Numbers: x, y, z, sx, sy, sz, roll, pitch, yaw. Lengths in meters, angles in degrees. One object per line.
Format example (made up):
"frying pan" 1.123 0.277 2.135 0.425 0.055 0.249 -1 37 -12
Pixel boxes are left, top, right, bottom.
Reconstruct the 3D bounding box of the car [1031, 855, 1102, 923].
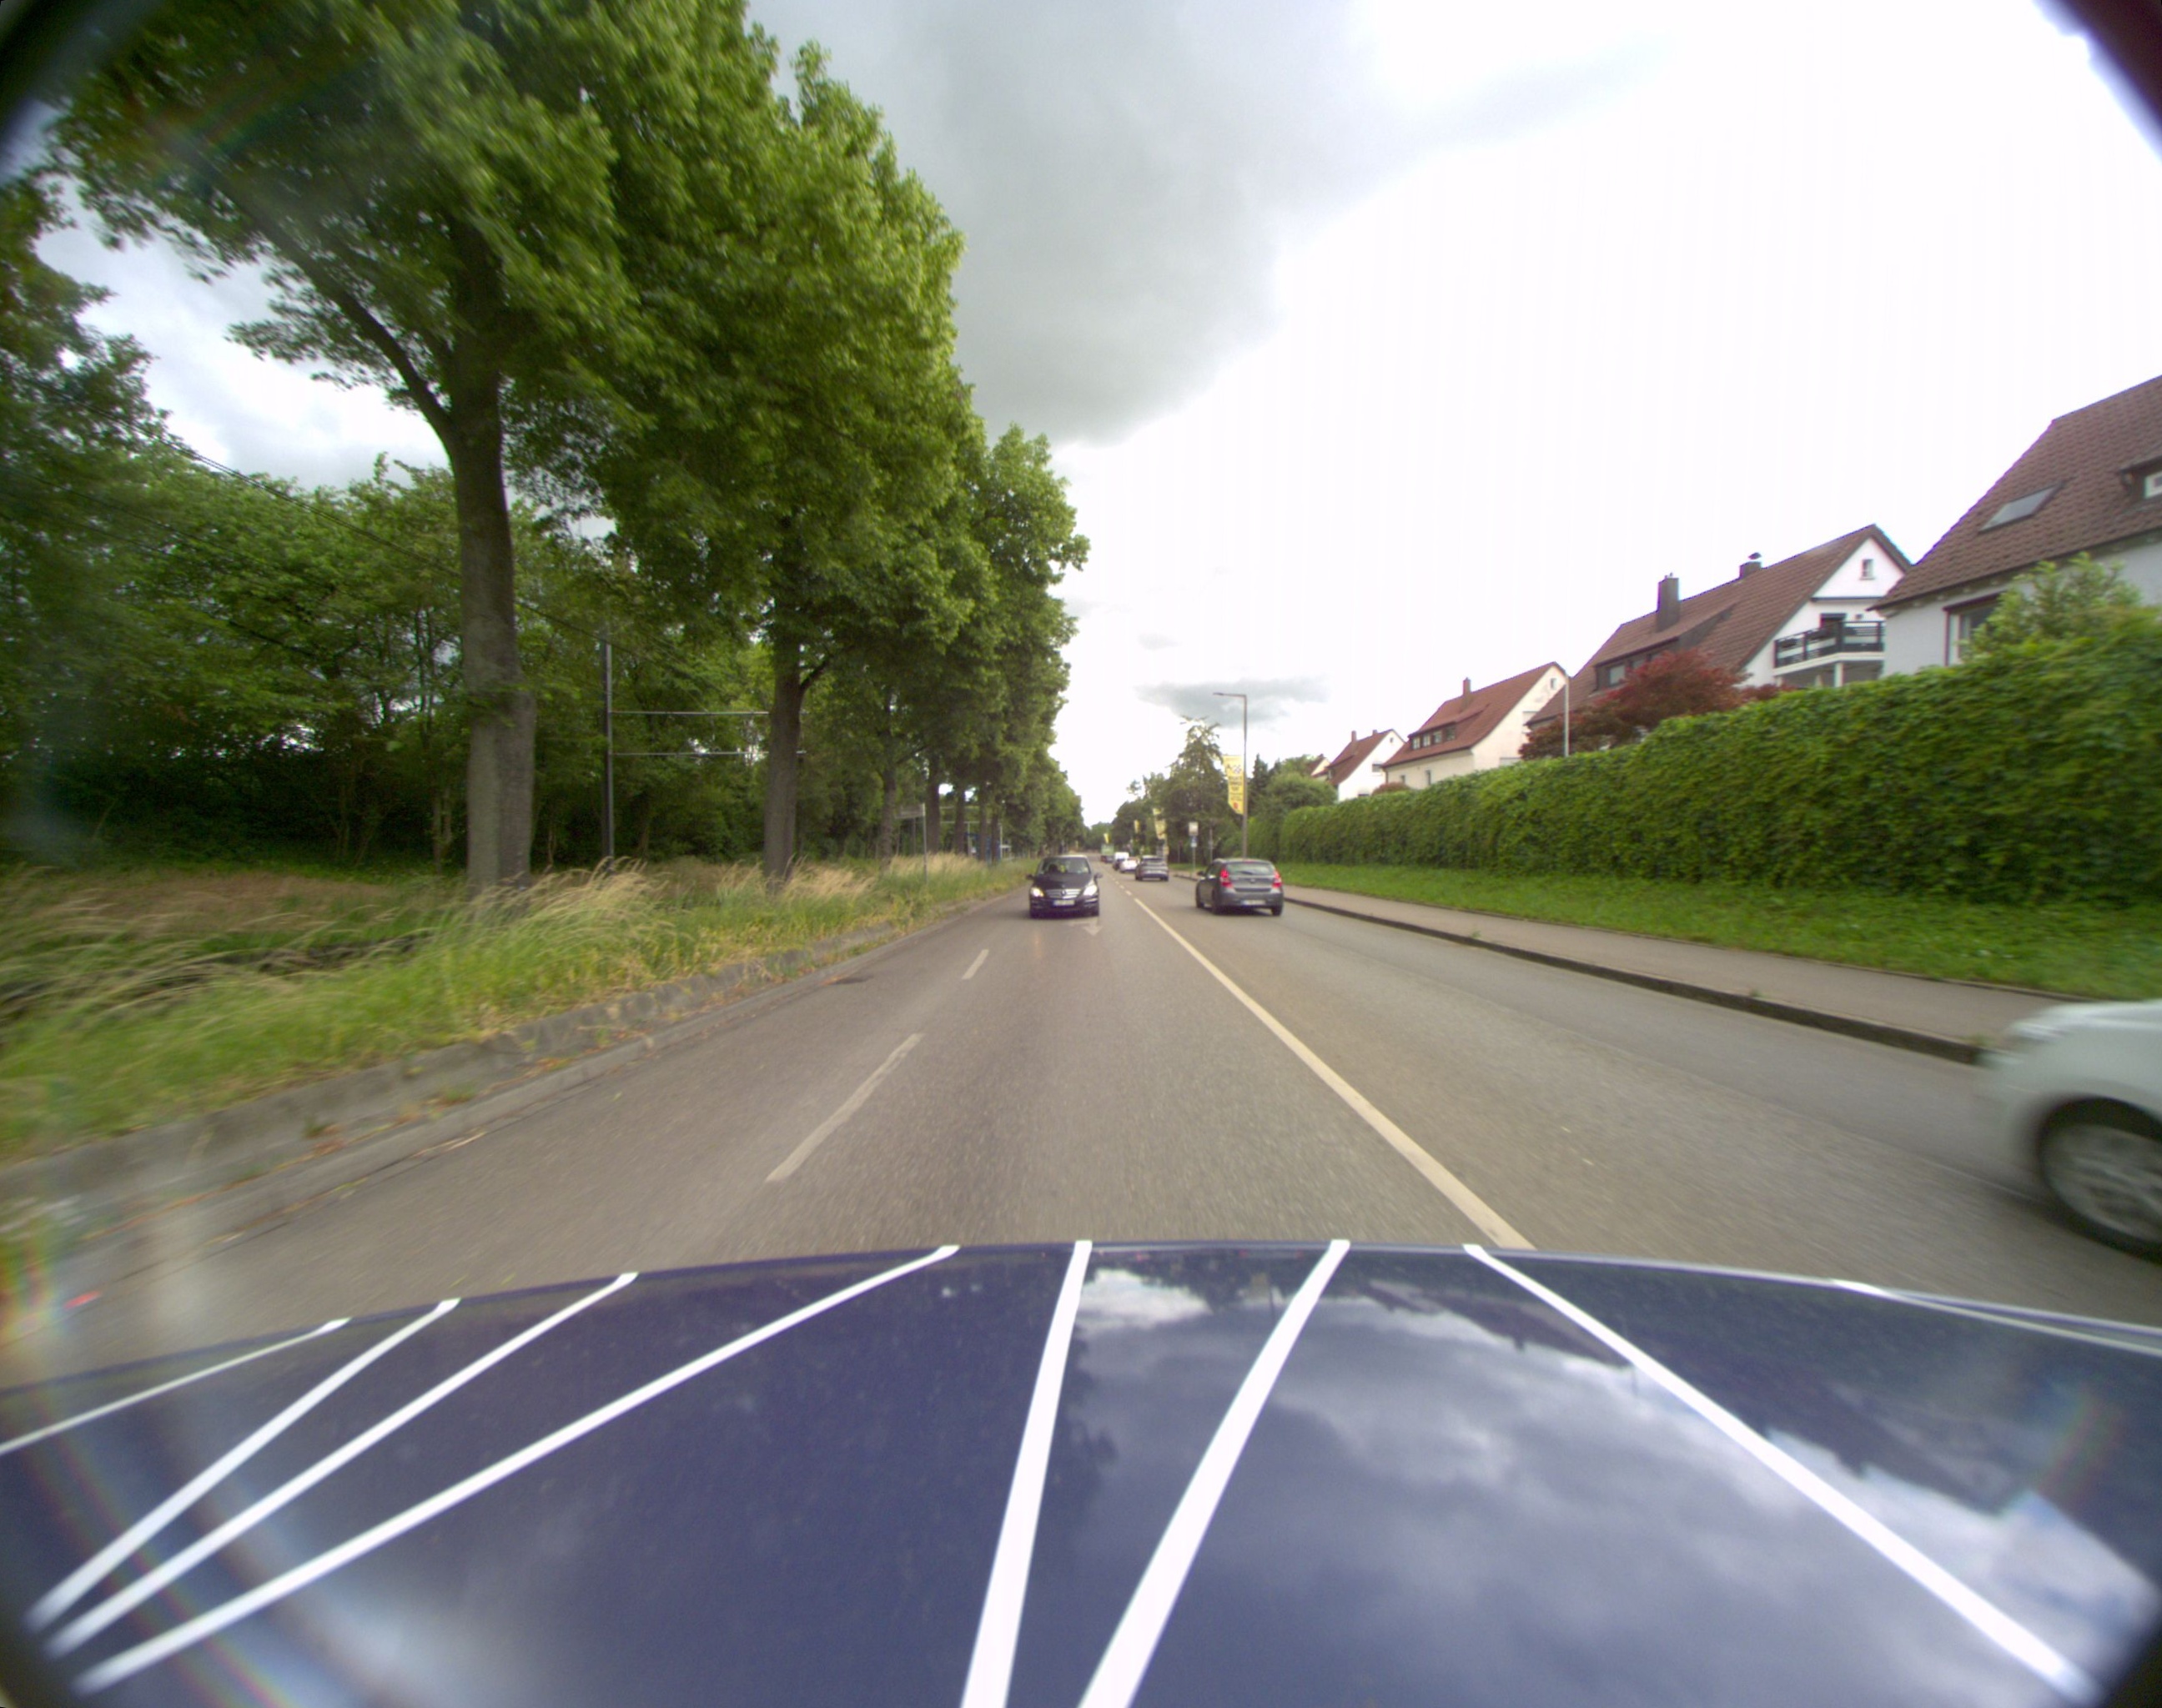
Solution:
"car" -0.354 0.860 20.751 1.683 1.565 4.482 -2 0 0

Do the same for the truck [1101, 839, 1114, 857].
"truck" 5.917 -1.372 170.723 2.556 4.020 10.618 2 1 0

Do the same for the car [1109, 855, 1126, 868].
"car" 3.849 0.751 80.058 1.655 1.340 4.477 0 0 1

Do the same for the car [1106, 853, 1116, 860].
"car" 5.623 0.429 144.199 1.737 1.367 4.239 -1 0 0

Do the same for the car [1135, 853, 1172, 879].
"car" 4.384 0.731 46.388 1.756 1.509 4.000 1 0 -1

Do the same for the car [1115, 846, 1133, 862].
"car" 5.330 -0.043 95.146 1.911 1.921 4.910 1 0 0

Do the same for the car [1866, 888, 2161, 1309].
"car" 4.676 0.939 1.697 1.622 1.453 4.072 3 0 1

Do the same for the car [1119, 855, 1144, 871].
"car" 4.453 0.761 67.850 1.891 1.375 4.490 1 0 -1

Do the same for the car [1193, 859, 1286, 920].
"car" 4.247 0.897 20.985 1.732 1.455 4.153 1 0 0
